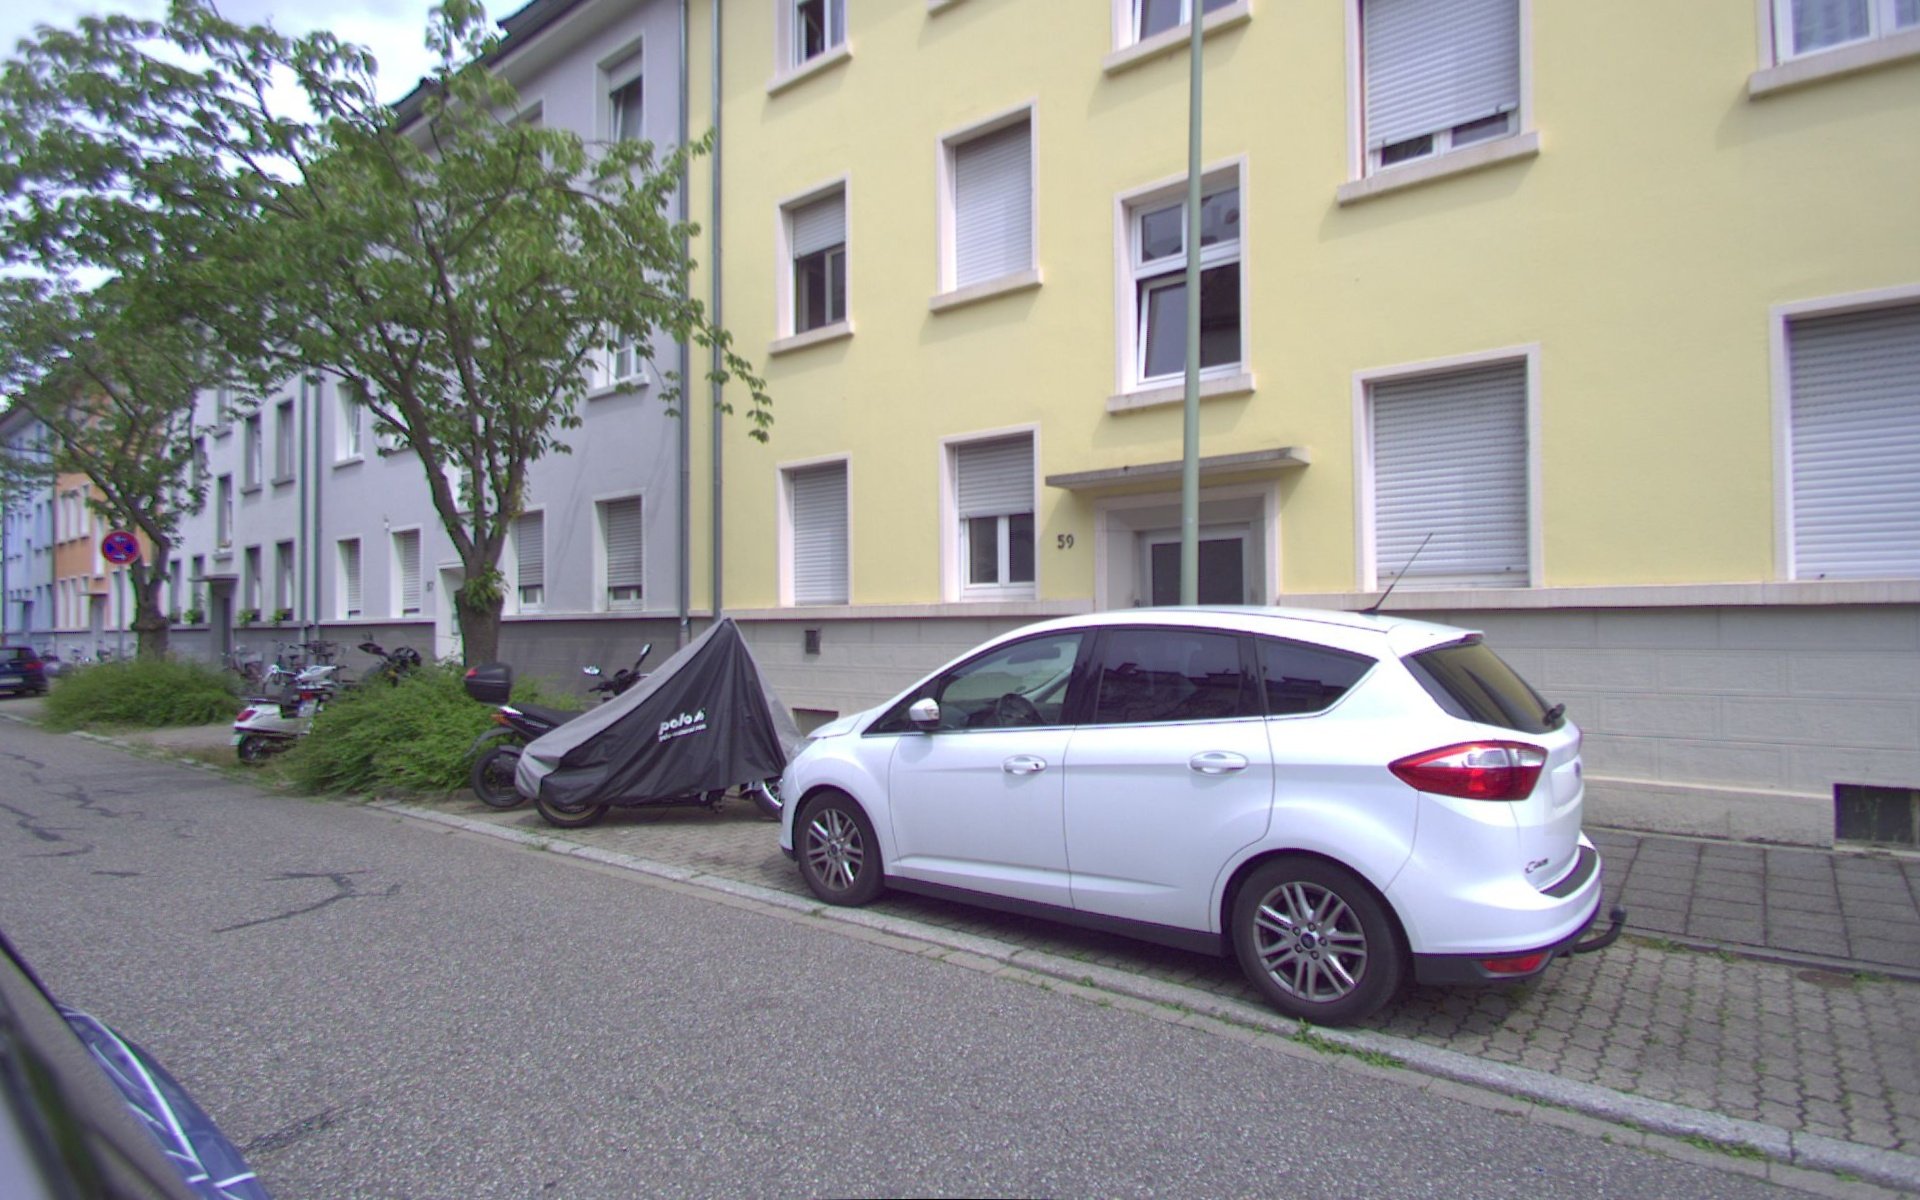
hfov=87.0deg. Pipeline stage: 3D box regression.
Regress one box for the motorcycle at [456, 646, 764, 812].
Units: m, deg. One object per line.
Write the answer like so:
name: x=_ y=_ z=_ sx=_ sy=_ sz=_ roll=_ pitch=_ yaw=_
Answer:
motorcycle: x=-2.988 y=1.080 z=8.814 sx=2.414 sy=1.321 sz=0.645 roll=2 pitch=-4 yaw=-22

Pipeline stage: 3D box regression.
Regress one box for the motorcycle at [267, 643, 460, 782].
motorcycle: x=-7.017 y=1.276 z=12.069 sx=0.591 sy=1.493 sz=2.230 roll=0 pitch=-3 yaw=12

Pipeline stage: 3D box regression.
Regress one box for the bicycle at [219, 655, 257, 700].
bicycle: x=-16.036 y=1.708 z=22.467 sx=1.433 sy=0.974 sz=0.306 roll=-2 pitch=-4 yaw=40

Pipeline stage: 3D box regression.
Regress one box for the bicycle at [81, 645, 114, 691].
bicycle: x=-25.766 y=2.012 z=30.225 sx=1.810 sy=1.344 sz=0.425 roll=-2 pitch=-4 yaw=40

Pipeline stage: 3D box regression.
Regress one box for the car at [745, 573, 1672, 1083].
car: x=0.959 y=0.772 z=5.155 sx=4.251 sy=1.568 sz=1.740 roll=-2 pitch=-3 yaw=39

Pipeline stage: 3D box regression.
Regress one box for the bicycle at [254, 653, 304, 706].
bicycle: x=-13.785 y=1.595 z=20.478 sx=1.433 sy=1.014 sz=0.416 roll=-2 pitch=-4 yaw=40

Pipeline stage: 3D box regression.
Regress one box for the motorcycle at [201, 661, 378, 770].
motorcycle: x=-8.132 y=1.361 z=12.389 sx=0.591 sy=1.201 sz=1.904 roll=0 pitch=-3 yaw=12

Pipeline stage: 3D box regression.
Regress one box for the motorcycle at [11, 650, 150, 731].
motorcycle: x=-16.539 y=1.671 z=19.105 sx=0.781 sy=1.418 sz=2.017 roll=1 pitch=-3 yaw=1

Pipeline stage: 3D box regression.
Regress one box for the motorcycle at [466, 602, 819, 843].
motorcycle: x=-2.341 y=0.887 z=7.768 sx=2.436 sy=1.689 sz=0.939 roll=-1 pitch=-2 yaw=-4

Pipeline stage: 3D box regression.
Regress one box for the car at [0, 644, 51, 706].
car: x=-25.837 y=1.969 z=26.821 sx=4.114 sy=1.495 sz=1.820 roll=-2 pitch=1 yaw=37

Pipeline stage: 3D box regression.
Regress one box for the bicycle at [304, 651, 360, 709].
bicycle: x=-11.616 y=1.463 z=18.714 sx=1.433 sy=1.014 sz=0.416 roll=-2 pitch=-4 yaw=40

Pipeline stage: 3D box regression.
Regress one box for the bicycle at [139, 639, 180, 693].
bicycle: x=-20.700 y=1.692 z=26.154 sx=1.810 sy=1.344 sz=0.425 roll=-2 pitch=-4 yaw=40
